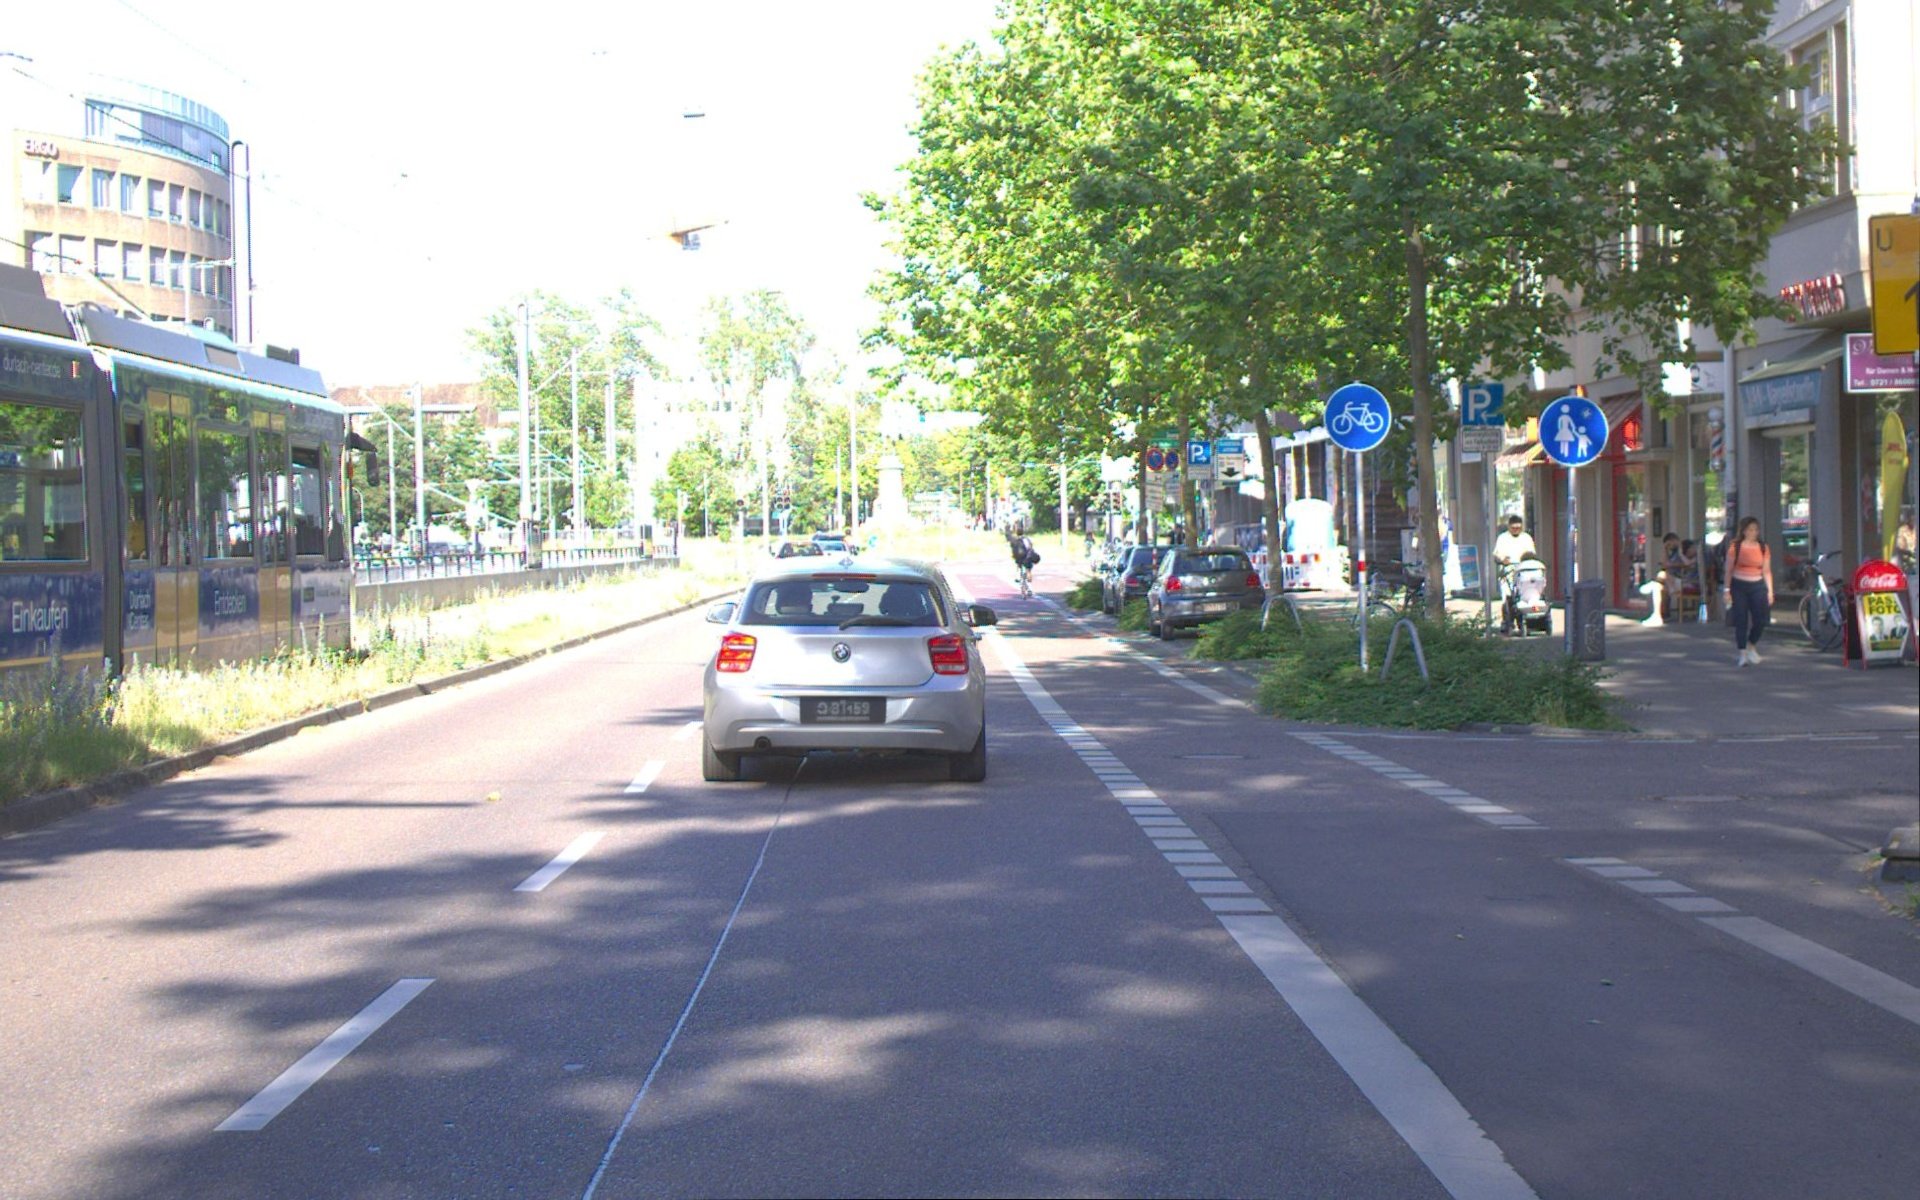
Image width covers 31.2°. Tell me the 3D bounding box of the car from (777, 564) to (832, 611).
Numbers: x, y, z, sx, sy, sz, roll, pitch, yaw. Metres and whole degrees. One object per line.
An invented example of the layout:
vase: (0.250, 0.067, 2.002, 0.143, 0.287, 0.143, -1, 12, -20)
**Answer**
car: (-5.049, -0.417, 111.423, 1.726, 1.465, 4.411, 0, 0, -3)

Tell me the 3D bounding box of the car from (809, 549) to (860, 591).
car: (-4.329, -1.026, 118.983, 1.644, 1.416, 4.000, 0, 0, 0)

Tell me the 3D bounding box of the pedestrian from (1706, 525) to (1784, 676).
pedestrian: (8.473, 0.004, 37.103, 0.682, 1.616, 0.562, 0, 0, -3)

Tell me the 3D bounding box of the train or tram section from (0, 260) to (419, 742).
train or tram section: (-7.727, -0.852, 33.328, 2.953, 3.883, 10.802, 1, 0, 1)

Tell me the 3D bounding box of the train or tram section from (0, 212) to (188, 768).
train or tram section: (-7.862, -0.805, 26.037, 2.955, 3.883, 3.865, 1, 0, 3)

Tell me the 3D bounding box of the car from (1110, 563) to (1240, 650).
car: (3.890, 0.084, 62.831, 2.038, 1.504, 4.594, -1, 1, -1)

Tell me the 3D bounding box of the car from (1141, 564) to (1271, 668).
car: (3.922, 0.230, 55.241, 1.694, 1.497, 3.801, -3, 1, -1)

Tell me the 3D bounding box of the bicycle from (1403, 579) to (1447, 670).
bicycle: (6.381, 0.322, 47.117, 0.386, 1.203, 1.872, 1, 1, 14)

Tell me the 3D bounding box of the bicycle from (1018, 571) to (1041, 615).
bicycle: (1.717, -0.175, 85.524, 0.499, 1.085, 1.997, 1, 0, -1)

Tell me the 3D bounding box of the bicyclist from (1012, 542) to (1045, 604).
bicyclist: (1.709, -0.681, 85.595, 0.785, 1.526, 0.895, 1, 0, 0)

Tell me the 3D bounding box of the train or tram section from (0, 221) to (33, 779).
train or tram section: (-8.674, -0.667, 17.007, 2.929, 3.799, 14.270, 1, 0, 6)

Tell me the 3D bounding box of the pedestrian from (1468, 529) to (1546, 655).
pedestrian: (7.524, -0.109, 47.345, 0.859, 1.699, 0.917, -1, 0, -3)

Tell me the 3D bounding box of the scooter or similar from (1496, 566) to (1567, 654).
scooter or similar: (7.693, 0.132, 46.284, 0.744, 1.167, 0.849, -1, 0, -4)

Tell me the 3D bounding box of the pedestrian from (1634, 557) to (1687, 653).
pedestrian: (9.871, 0.062, 48.451, 0.535, 1.328, 0.820, -2, 0, 0)

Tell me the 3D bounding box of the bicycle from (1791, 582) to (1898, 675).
bicycle: (10.138, 0.309, 39.475, 0.490, 1.020, 2.623, -1, 1, -1)

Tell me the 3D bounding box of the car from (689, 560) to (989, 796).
car: (-0.759, 0.449, 22.656, 1.798, 1.410, 4.000, 0, 0, -1)

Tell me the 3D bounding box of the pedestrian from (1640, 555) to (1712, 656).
pedestrian: (9.901, 0.070, 47.568, 0.785, 1.364, 0.857, -2, 0, 0)

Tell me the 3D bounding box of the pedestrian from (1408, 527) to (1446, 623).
pedestrian: (8.388, -0.452, 61.751, 0.558, 1.705, 0.770, -1, 1, -1)

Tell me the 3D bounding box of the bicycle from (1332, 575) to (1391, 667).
bicycle: (5.451, 0.293, 46.748, 0.392, 1.211, 1.903, -2, -1, -4)
